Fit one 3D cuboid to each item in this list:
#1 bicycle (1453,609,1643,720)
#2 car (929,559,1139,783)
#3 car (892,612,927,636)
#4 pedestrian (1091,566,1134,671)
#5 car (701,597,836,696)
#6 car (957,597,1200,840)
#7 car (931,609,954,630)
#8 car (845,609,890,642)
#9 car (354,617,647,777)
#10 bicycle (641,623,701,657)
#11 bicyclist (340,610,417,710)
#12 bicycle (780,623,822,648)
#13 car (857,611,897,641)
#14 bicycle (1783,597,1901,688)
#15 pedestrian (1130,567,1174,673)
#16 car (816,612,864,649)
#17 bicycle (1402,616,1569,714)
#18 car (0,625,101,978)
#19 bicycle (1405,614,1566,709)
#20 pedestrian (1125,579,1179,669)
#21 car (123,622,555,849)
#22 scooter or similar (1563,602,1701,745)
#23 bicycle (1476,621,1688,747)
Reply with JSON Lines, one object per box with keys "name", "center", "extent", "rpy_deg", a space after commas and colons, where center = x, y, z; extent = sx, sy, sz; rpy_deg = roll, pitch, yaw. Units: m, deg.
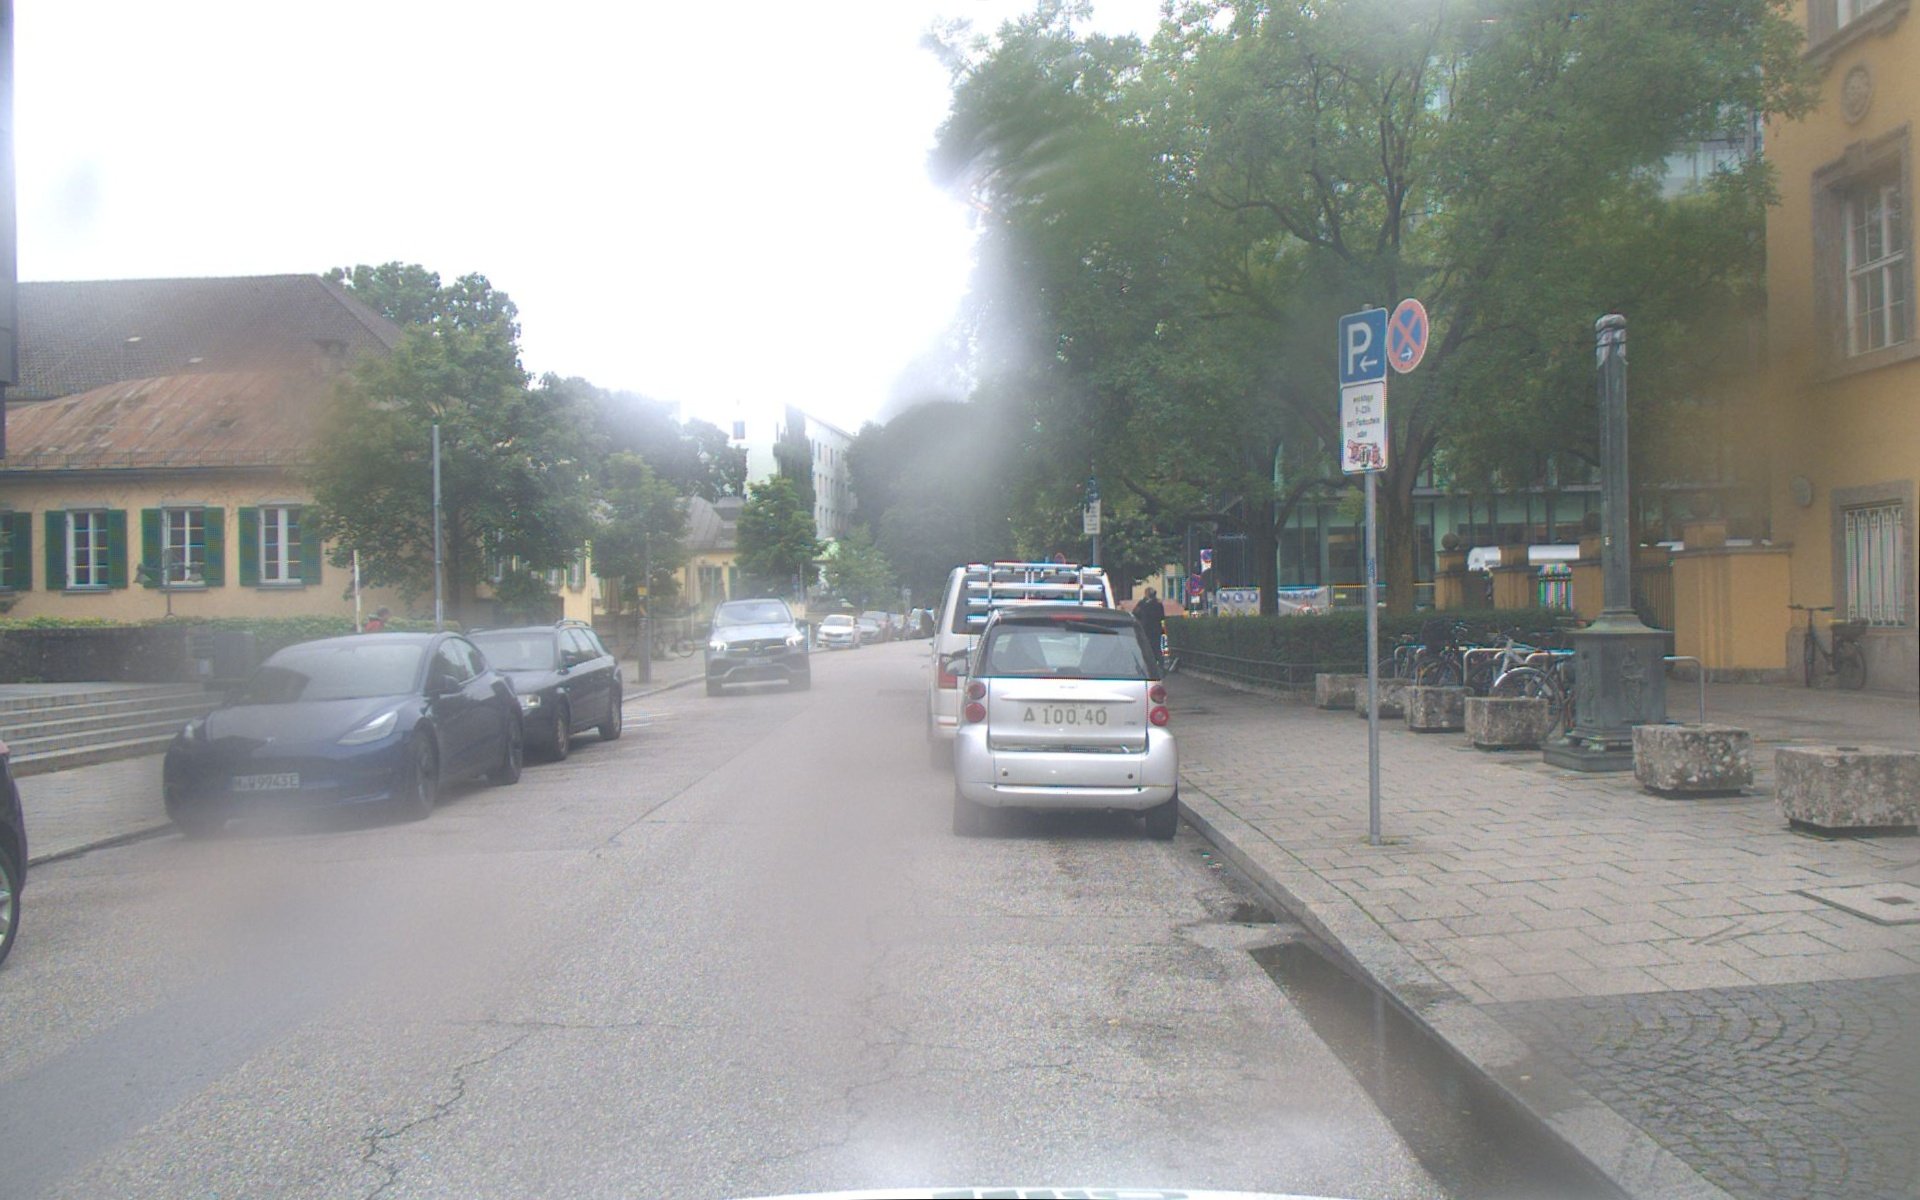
{"name": "bicycle", "center": [6.482, 0.710, 18.278], "extent": [1.892, 1.133, 0.471], "rpy_deg": [-2, -1, 1]}
{"name": "car", "center": [0.619, 0.654, 17.489], "extent": [1.808, 1.967, 5.271], "rpy_deg": [2, 0, -2]}
{"name": "car", "center": [-3.346, 1.595, 110.699], "extent": [1.952, 1.512, 4.002], "rpy_deg": [-1, 0, 4]}
{"name": "pedestrian", "center": [3.242, 0.392, 35.232], "extent": [0.727, 2.172, 1.055], "rpy_deg": [-2, -1, -1]}
{"name": "car", "center": [-3.634, 0.846, 32.176], "extent": [1.983, 1.719, 4.677], "rpy_deg": [-2, 0, 1]}
{"name": "car", "center": [0.783, 0.791, 12.389], "extent": [1.573, 1.573, 2.933], "rpy_deg": [1, 0, 0]}
{"name": "car", "center": [-1.496, 1.682, 142.057], "extent": [1.773, 1.712, 4.001], "rpy_deg": [-1, 0, 2]}
{"name": "car", "center": [-4.872, 1.320, 87.756], "extent": [1.952, 1.677, 4.656], "rpy_deg": [-1, 0, 2]}
{"name": "car", "center": [-5.130, 1.006, 19.232], "extent": [1.953, 1.517, 4.883], "rpy_deg": [-3, -1, 0]}
{"name": "bicycle", "center": [-9.738, 1.337, 55.721], "extent": [1.890, 1.118, 0.615], "rpy_deg": [1, -1, 2]}
{"name": "bicyclist", "center": [-9.128, 0.934, 25.966], "extent": [1.077, 1.524, 0.668], "rpy_deg": [0, -2, -25]}
{"name": "bicycle", "center": [-6.776, 1.512, 70.636], "extent": [0.610, 1.022, 2.134], "rpy_deg": [1, 0, 32]}
{"name": "car", "center": [-4.623, 1.492, 92.838], "extent": [1.952, 1.631, 4.000], "rpy_deg": [-1, -1, 1]}
{"name": "bicycle", "center": [12.055, 0.557, 22.679], "extent": [0.531, 1.174, 1.901], "rpy_deg": [-2, 0, -2]}
{"name": "pedestrian", "center": [4.067, 0.421, 35.057], "extent": [0.727, 2.172, 1.055], "rpy_deg": [-2, -1, -1]}
{"name": "car", "center": [-5.423, 1.359, 75.161], "extent": [1.697, 1.609, 3.788], "rpy_deg": [2, 0, 3]}
{"name": "bicycle", "center": [6.523, 0.801, 20.575], "extent": [1.892, 1.133, 0.471], "rpy_deg": [-2, -1, 1]}
{"name": "car", "center": [-4.966, 0.900, 5.674], "extent": [1.704, 1.486, 4.237], "rpy_deg": [-3, 0, 1]}
{"name": "bicycle", "center": [6.779, 0.792, 21.369], "extent": [1.892, 1.133, 0.471], "rpy_deg": [-2, -1, 1]}
{"name": "pedestrian", "center": [4.217, 0.518, 36.271], "extent": [0.729, 1.941, 1.052], "rpy_deg": [-2, -1, 35]}
{"name": "car", "center": [-4.922, 0.978, 13.973], "extent": [1.884, 1.464, 4.915], "rpy_deg": [-3, -1, -2]}
{"name": "scooter or similar", "center": [6.098, 0.661, 15.018], "extent": [0.995, 1.243, 0.534], "rpy_deg": [-3, -1, 45]}
{"name": "bicycle", "center": [6.126, 0.818, 16.308], "extent": [1.893, 1.133, 0.471], "rpy_deg": [-2, -1, -4]}
